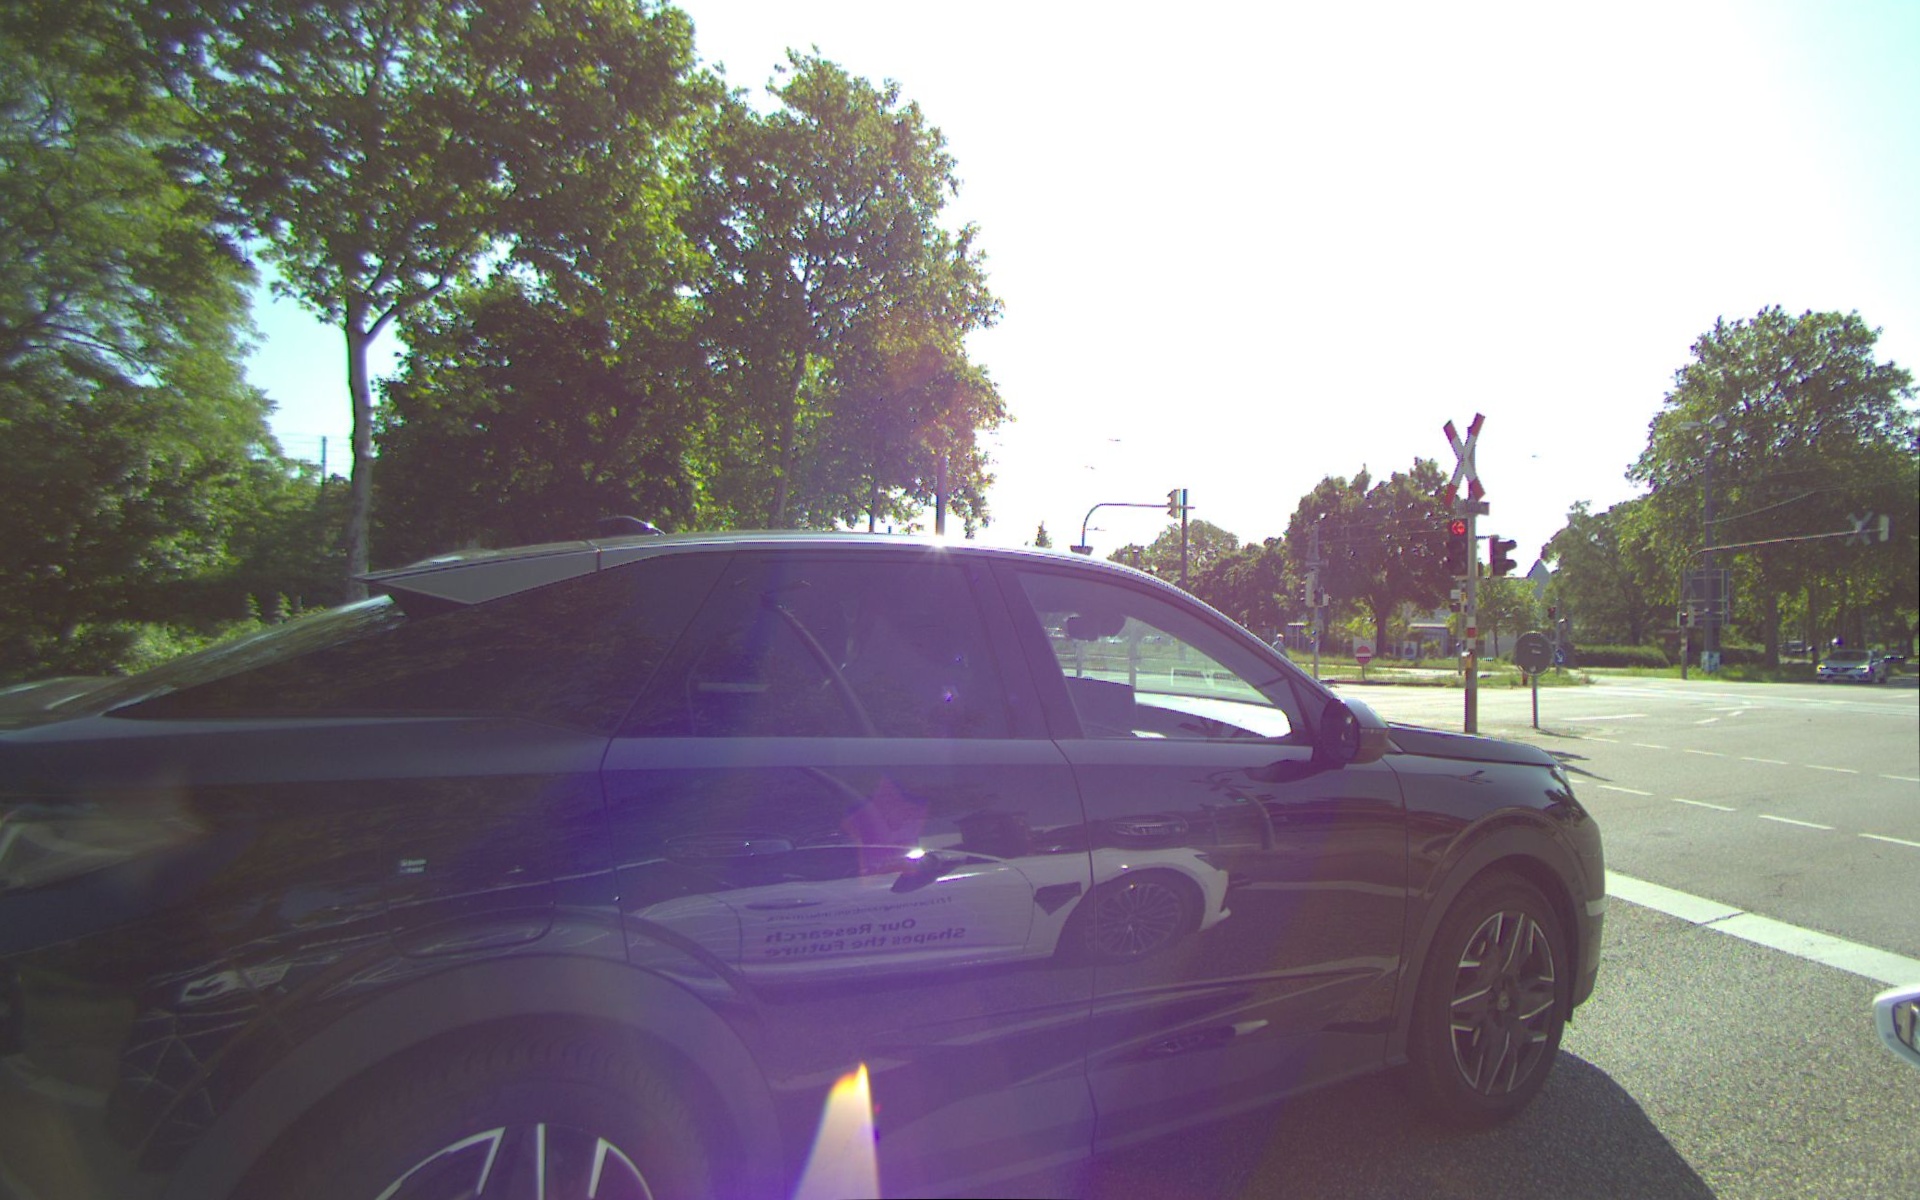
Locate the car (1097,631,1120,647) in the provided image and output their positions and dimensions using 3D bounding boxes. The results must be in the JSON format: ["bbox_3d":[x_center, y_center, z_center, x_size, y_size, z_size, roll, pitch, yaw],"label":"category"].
[{"bbox_3d":[13.794,3.630,93.468,1.421,1.465,3.340,1,-2,-4],"label":"car"}]

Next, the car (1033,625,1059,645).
[{"bbox_3d":[7.988,3.250,93.169,1.780,1.725,3.985,1,-2,-4],"label":"car"}]

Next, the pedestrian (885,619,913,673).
[{"bbox_3d":[-1.779,1.350,29.318,0.563,1.554,0.601,2,-2,-36],"label":"pedestrian"}]

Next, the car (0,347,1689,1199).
[{"bbox_3d":[-0.013,0.610,2.930,4.384,1.719,1.863,2,-1,-30],"label":"car"}]

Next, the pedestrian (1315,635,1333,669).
[{"bbox_3d":[21.867,3.125,60.321,0.706,2.040,0.786,2,-2,-41],"label":"pedestrian"}]

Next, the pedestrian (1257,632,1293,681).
[{"bbox_3d":[10.059,1.804,32.096,0.855,1.520,0.697,1,-2,-17],"label":"pedestrian"}]

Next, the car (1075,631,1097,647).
[{"bbox_3d":[11.690,3.635,93.343,1.323,1.465,3.340,1,-2,-4],"label":"car"}]

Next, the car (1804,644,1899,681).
[{"bbox_3d":[38.383,2.668,43.212,4.605,1.528,1.686,2,-2,-30],"label":"car"}]
